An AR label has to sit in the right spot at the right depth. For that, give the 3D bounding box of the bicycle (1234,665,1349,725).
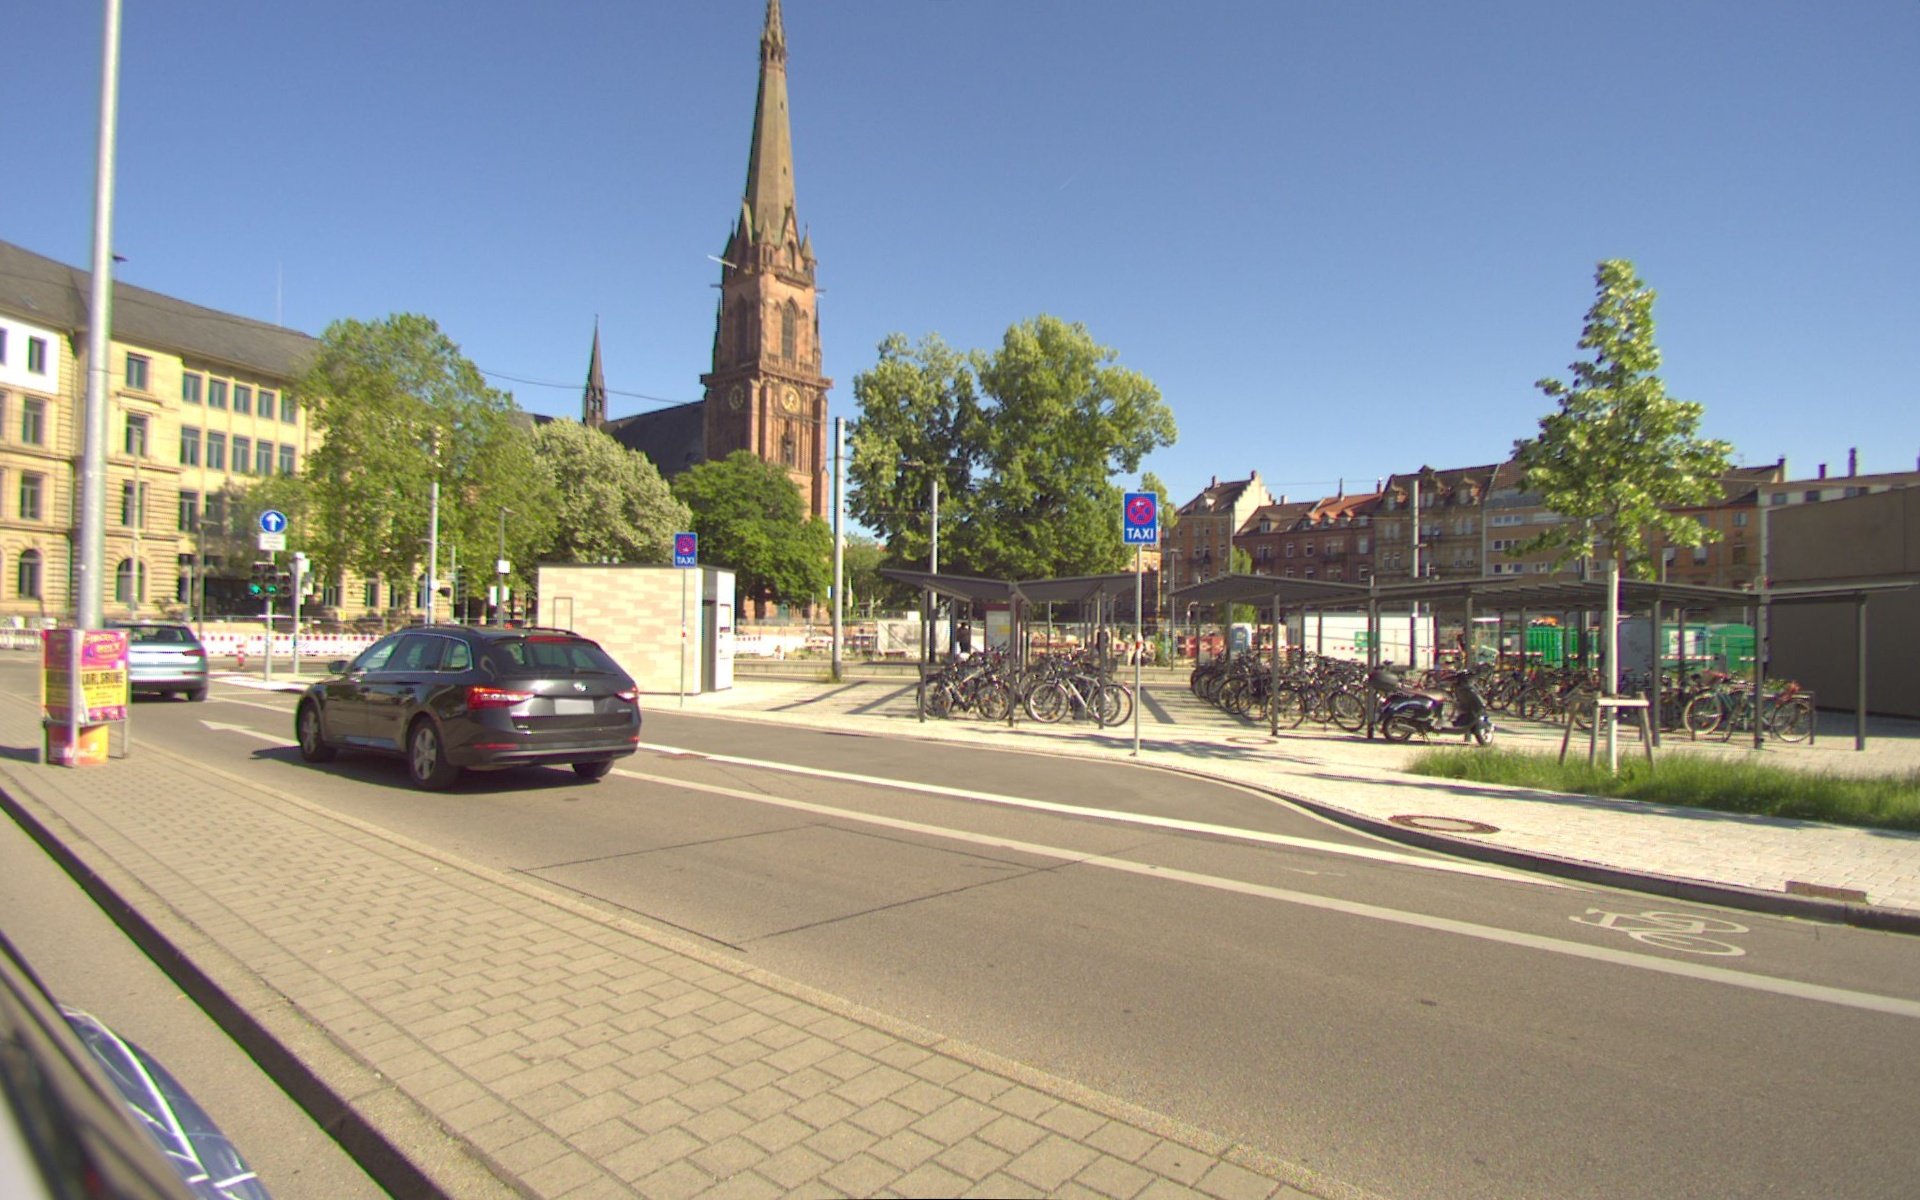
[{"bbox_3d":[5.902,1.685,18.091,1.882,1.016,0.456,0,-2,8],"label":"bicycle"}]

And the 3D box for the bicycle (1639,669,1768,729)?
[{"bbox_3d":[13.472,1.778,18.363,1.882,1.016,0.456,0,-2,8],"label":"bicycle"}]

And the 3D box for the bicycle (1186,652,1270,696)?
[{"bbox_3d":[6.396,1.764,24.224,1.882,1.016,0.456,0,-2,8],"label":"bicycle"}]

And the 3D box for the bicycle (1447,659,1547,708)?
[{"bbox_3d":[11.787,1.826,22.242,1.882,1.016,0.456,0,-2,8],"label":"bicycle"}]

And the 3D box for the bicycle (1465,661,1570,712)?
[{"bbox_3d":[11.717,1.816,21.311,1.882,1.016,0.456,0,-2,8],"label":"bicycle"}]

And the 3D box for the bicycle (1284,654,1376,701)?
[{"bbox_3d":[8.319,1.737,22.817,1.882,1.016,0.456,0,-2,8],"label":"bicycle"}]

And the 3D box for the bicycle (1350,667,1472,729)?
[{"bbox_3d":[7.897,1.710,17.762,1.882,1.016,0.456,0,-2,8],"label":"bicycle"}]

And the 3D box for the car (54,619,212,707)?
[{"bbox_3d":[-16.327,1.181,19.898,4.241,1.554,1.835,-1,-4,44],"label":"car"}]

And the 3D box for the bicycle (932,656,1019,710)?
[{"bbox_3d":[0.308,1.621,19.887,1.652,1.016,0.456,0,-2,8],"label":"bicycle"}]

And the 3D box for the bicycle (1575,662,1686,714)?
[{"bbox_3d":[13.876,1.820,20.969,1.882,1.016,0.456,0,-2,8],"label":"bicycle"}]

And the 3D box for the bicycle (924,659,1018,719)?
[{"bbox_3d":[0.204,1.587,18.190,1.652,1.016,0.456,0,-2,8],"label":"bicycle"}]

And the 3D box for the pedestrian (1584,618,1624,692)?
[{"bbox_3d":[16.478,1.402,25.907,0.676,1.848,0.564,0,-2,8],"label":"pedestrian"}]

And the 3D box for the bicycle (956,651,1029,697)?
[{"bbox_3d":[0.749,1.711,23.481,1.652,1.016,0.456,0,-2,8],"label":"bicycle"}]

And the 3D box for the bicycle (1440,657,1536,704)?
[{"bbox_3d":[12.082,1.838,23.193,1.882,1.016,0.456,0,-2,8],"label":"bicycle"}]

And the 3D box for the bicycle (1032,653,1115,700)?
[{"bbox_3d":[2.609,1.749,23.303,1.882,1.016,0.456,0,-2,8],"label":"bicycle"}]

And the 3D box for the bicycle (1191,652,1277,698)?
[{"bbox_3d":[6.369,1.733,23.566,1.882,1.016,0.456,0,-2,8],"label":"bicycle"}]

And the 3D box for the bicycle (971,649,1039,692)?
[{"bbox_3d":[1.110,1.731,24.941,1.652,1.016,0.456,0,-2,8],"label":"bicycle"}]

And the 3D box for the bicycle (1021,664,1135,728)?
[{"bbox_3d":[1.992,1.604,17.113,1.882,1.016,0.456,0,-2,8],"label":"bicycle"}]

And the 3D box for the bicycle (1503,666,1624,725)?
[{"bbox_3d":[11.167,1.758,18.756,1.882,1.016,0.456,0,-2,8],"label":"bicycle"}]

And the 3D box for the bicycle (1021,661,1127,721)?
[{"bbox_3d":[2.057,1.634,18.260,1.882,1.016,0.456,0,-2,8],"label":"bicycle"}]

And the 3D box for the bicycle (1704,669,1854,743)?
[{"bbox_3d":[13.084,1.686,16.204,1.882,1.106,0.456,0,-2,8],"label":"bicycle"}]

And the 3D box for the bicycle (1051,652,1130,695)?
[{"bbox_3d":[3.165,1.778,24.598,1.882,1.016,0.456,0,-2,8],"label":"bicycle"}]

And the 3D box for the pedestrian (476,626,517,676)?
[{"bbox_3d":[-17.065,1.875,37.264,1.130,1.793,0.965,-1,-2,40],"label":"pedestrian"}]

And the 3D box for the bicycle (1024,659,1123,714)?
[{"bbox_3d":[2.199,1.661,19.584,1.882,1.016,0.456,0,-2,8],"label":"bicycle"}]

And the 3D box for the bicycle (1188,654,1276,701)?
[{"bbox_3d":[6.152,1.740,22.942,1.882,1.016,0.456,0,-2,8],"label":"bicycle"}]

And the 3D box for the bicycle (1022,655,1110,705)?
[{"bbox_3d":[2.300,1.724,21.920,1.882,1.016,0.456,0,-2,8],"label":"bicycle"}]

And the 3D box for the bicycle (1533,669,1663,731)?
[{"bbox_3d":[11.103,1.734,17.640,1.882,1.016,0.456,0,-2,8],"label":"bicycle"}]

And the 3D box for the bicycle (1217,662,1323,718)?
[{"bbox_3d":[5.900,1.710,19.322,1.882,1.016,0.456,0,-2,8],"label":"bicycle"}]

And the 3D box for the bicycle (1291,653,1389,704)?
[{"bbox_3d":[8.059,1.662,21.518,1.882,1.016,0.456,0,-2,8],"label":"bicycle"}]

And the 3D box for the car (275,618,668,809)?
[{"bbox_3d":[-5.062,0.967,10.187,4.571,1.511,1.771,-1,-3,39],"label":"car"}]

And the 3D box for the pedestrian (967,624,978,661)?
[{"bbox_3d":[0.589,1.996,47.615,0.399,1.734,0.419,1,-2,-11],"label":"pedestrian"}]

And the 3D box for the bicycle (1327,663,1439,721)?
[{"bbox_3d":[7.921,1.714,18.995,1.882,1.016,0.456,0,-2,8],"label":"bicycle"}]

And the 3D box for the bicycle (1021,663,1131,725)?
[{"bbox_3d":[2.022,1.626,17.673,1.882,1.016,0.456,0,-2,8],"label":"bicycle"}]

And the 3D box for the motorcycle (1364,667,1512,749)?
[{"bbox_3d":[7.164,1.604,15.224,1.924,1.160,0.516,0,-2,6],"label":"motorcycle"}]

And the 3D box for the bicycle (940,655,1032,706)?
[{"bbox_3d":[0.546,1.677,21.225,1.882,1.016,0.456,0,-2,8],"label":"bicycle"}]

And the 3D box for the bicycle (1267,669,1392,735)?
[{"bbox_3d":[6.124,1.684,16.838,1.882,1.016,0.456,0,-2,8],"label":"bicycle"}]

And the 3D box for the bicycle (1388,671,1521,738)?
[{"bbox_3d":[8.031,1.693,16.492,1.882,1.016,0.456,0,-2,8],"label":"bicycle"}]

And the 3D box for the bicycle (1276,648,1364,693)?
[{"bbox_3d":[8.489,1.654,23.909,1.882,1.016,0.456,0,-2,8],"label":"bicycle"}]

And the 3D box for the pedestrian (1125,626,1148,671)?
[{"bbox_3d":[7.136,1.959,40.966,0.792,1.793,0.977,0,-2,3],"label":"pedestrian"}]

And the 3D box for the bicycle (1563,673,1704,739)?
[{"bbox_3d":[10.975,1.719,16.535,1.882,1.016,0.456,0,-2,8],"label":"bicycle"}]

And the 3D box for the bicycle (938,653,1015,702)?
[{"bbox_3d":[0.374,1.692,22.223,1.652,1.016,0.456,0,-2,8],"label":"bicycle"}]

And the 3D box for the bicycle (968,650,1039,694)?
[{"bbox_3d":[1.045,1.716,24.225,1.652,1.016,0.456,0,-2,8],"label":"bicycle"}]

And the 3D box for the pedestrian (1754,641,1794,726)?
[{"bbox_3d":[19.963,2.041,24.830,0.718,2.029,0.678,-1,-4,41],"label":"pedestrian"}]

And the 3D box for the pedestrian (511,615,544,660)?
[{"bbox_3d":[-17.731,1.538,41.502,0.802,1.793,0.965,-1,-2,40],"label":"pedestrian"}]

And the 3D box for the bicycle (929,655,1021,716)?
[{"bbox_3d":[0.282,1.571,18.776,1.652,1.069,0.456,0,-2,8],"label":"bicycle"}]

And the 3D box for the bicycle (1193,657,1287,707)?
[{"bbox_3d":[5.968,1.748,21.608,1.882,1.016,0.456,0,-2,8],"label":"bicycle"}]

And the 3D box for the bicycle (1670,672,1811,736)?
[{"bbox_3d":[13.131,1.745,17.064,1.882,1.016,0.456,0,-2,8],"label":"bicycle"}]

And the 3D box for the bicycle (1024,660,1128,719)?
[{"bbox_3d":[2.139,1.647,18.742,1.882,1.016,0.456,0,-2,8],"label":"bicycle"}]
